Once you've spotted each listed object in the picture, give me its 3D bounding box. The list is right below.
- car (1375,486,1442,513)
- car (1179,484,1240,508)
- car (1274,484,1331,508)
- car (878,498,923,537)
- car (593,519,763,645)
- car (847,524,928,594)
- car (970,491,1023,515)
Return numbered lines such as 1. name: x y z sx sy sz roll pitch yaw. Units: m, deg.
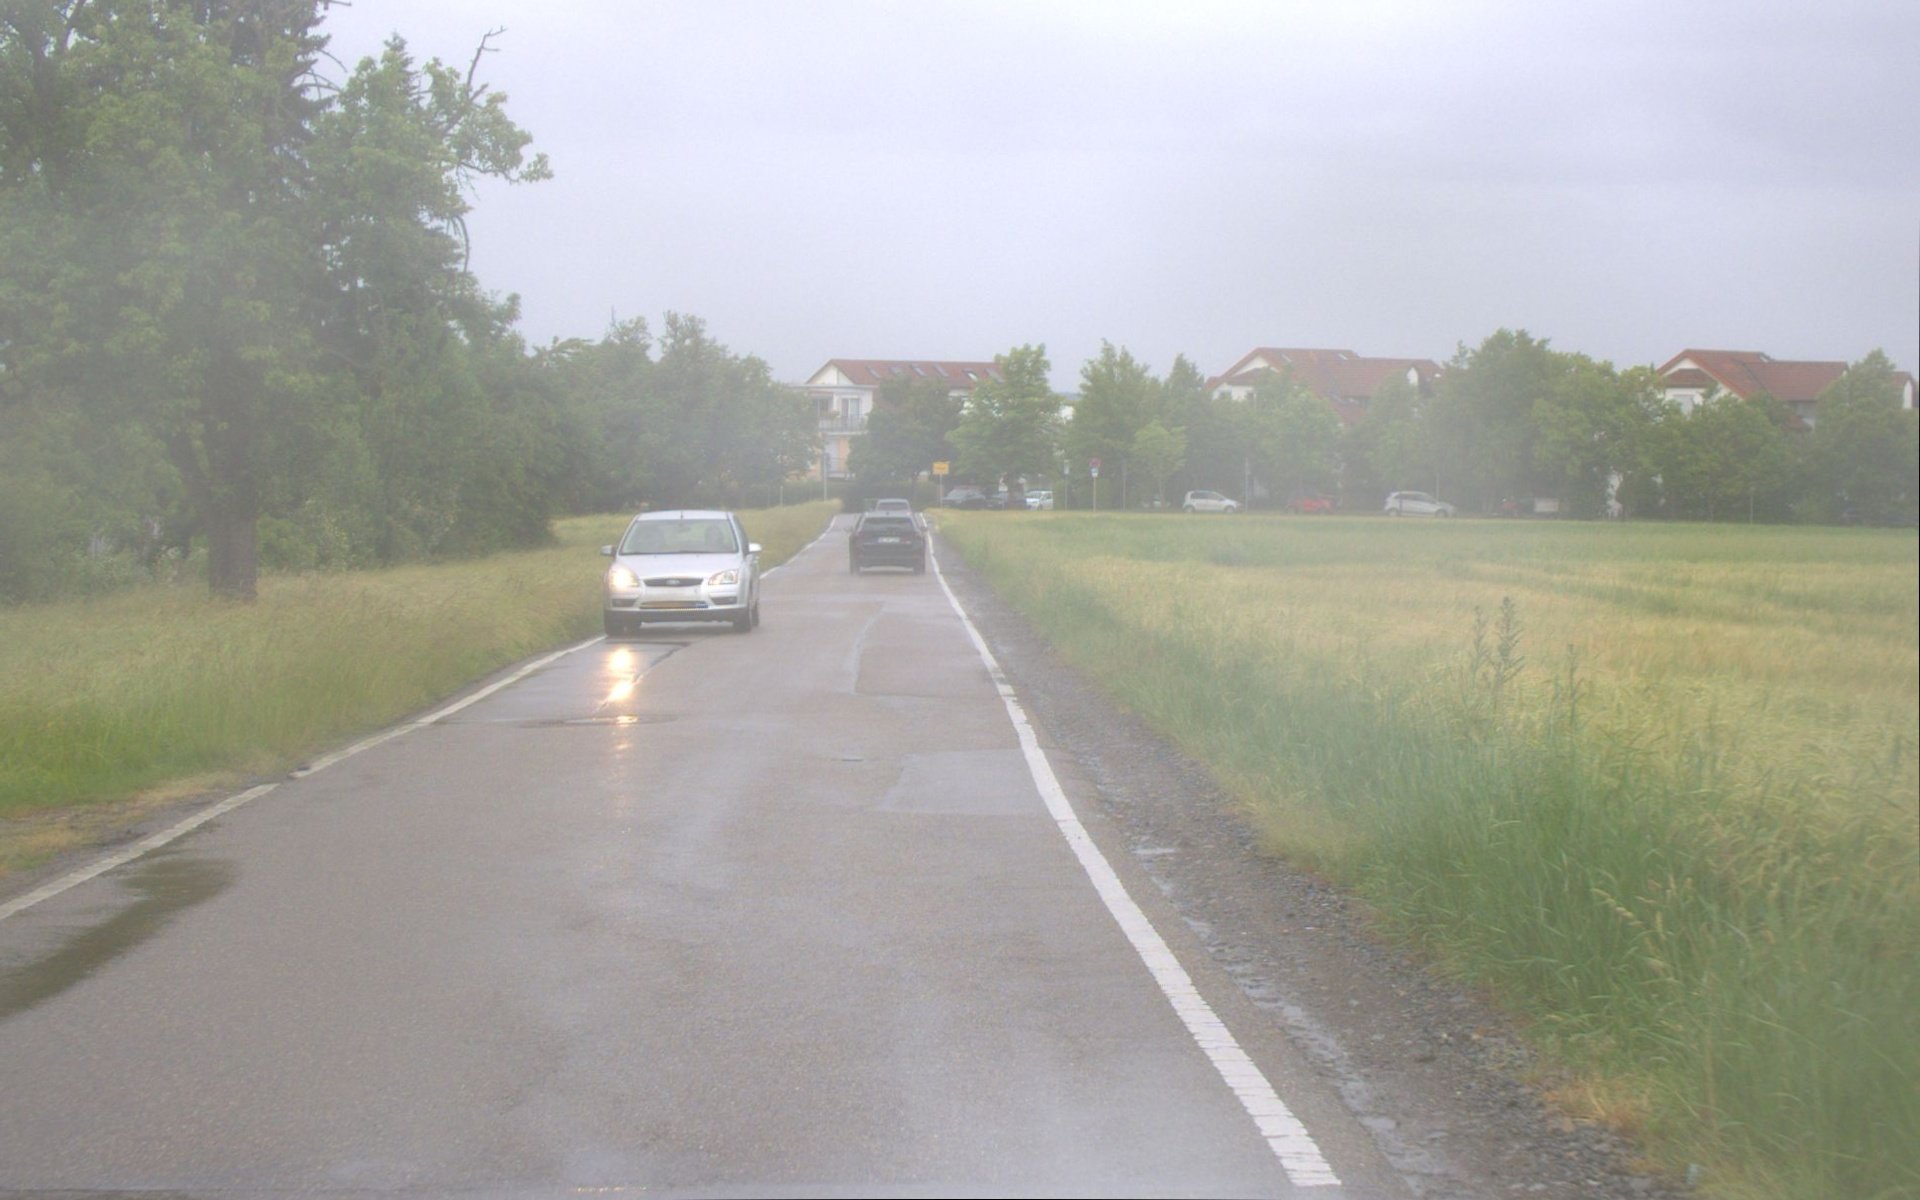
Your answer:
1. car: 26.013 -5.819 199.401 3.711 1.558 1.609 0 0 13
2. car: 14.682 -6.131 201.933 3.392 1.366 1.547 0 0 13
3. car: 20.012 -6.075 200.803 3.194 1.366 1.571 0 0 13
4. car: -2.513 -3.473 145.294 1.814 1.588 4.000 0 0 0
5. car: -3.434 -0.219 42.430 1.739 1.466 4.123 0 0 0
6. car: -1.686 -0.947 81.034 1.814 1.588 4.000 0 0 0
7. car: 2.531 -6.634 236.023 1.664 1.541 3.992 0 0 35
